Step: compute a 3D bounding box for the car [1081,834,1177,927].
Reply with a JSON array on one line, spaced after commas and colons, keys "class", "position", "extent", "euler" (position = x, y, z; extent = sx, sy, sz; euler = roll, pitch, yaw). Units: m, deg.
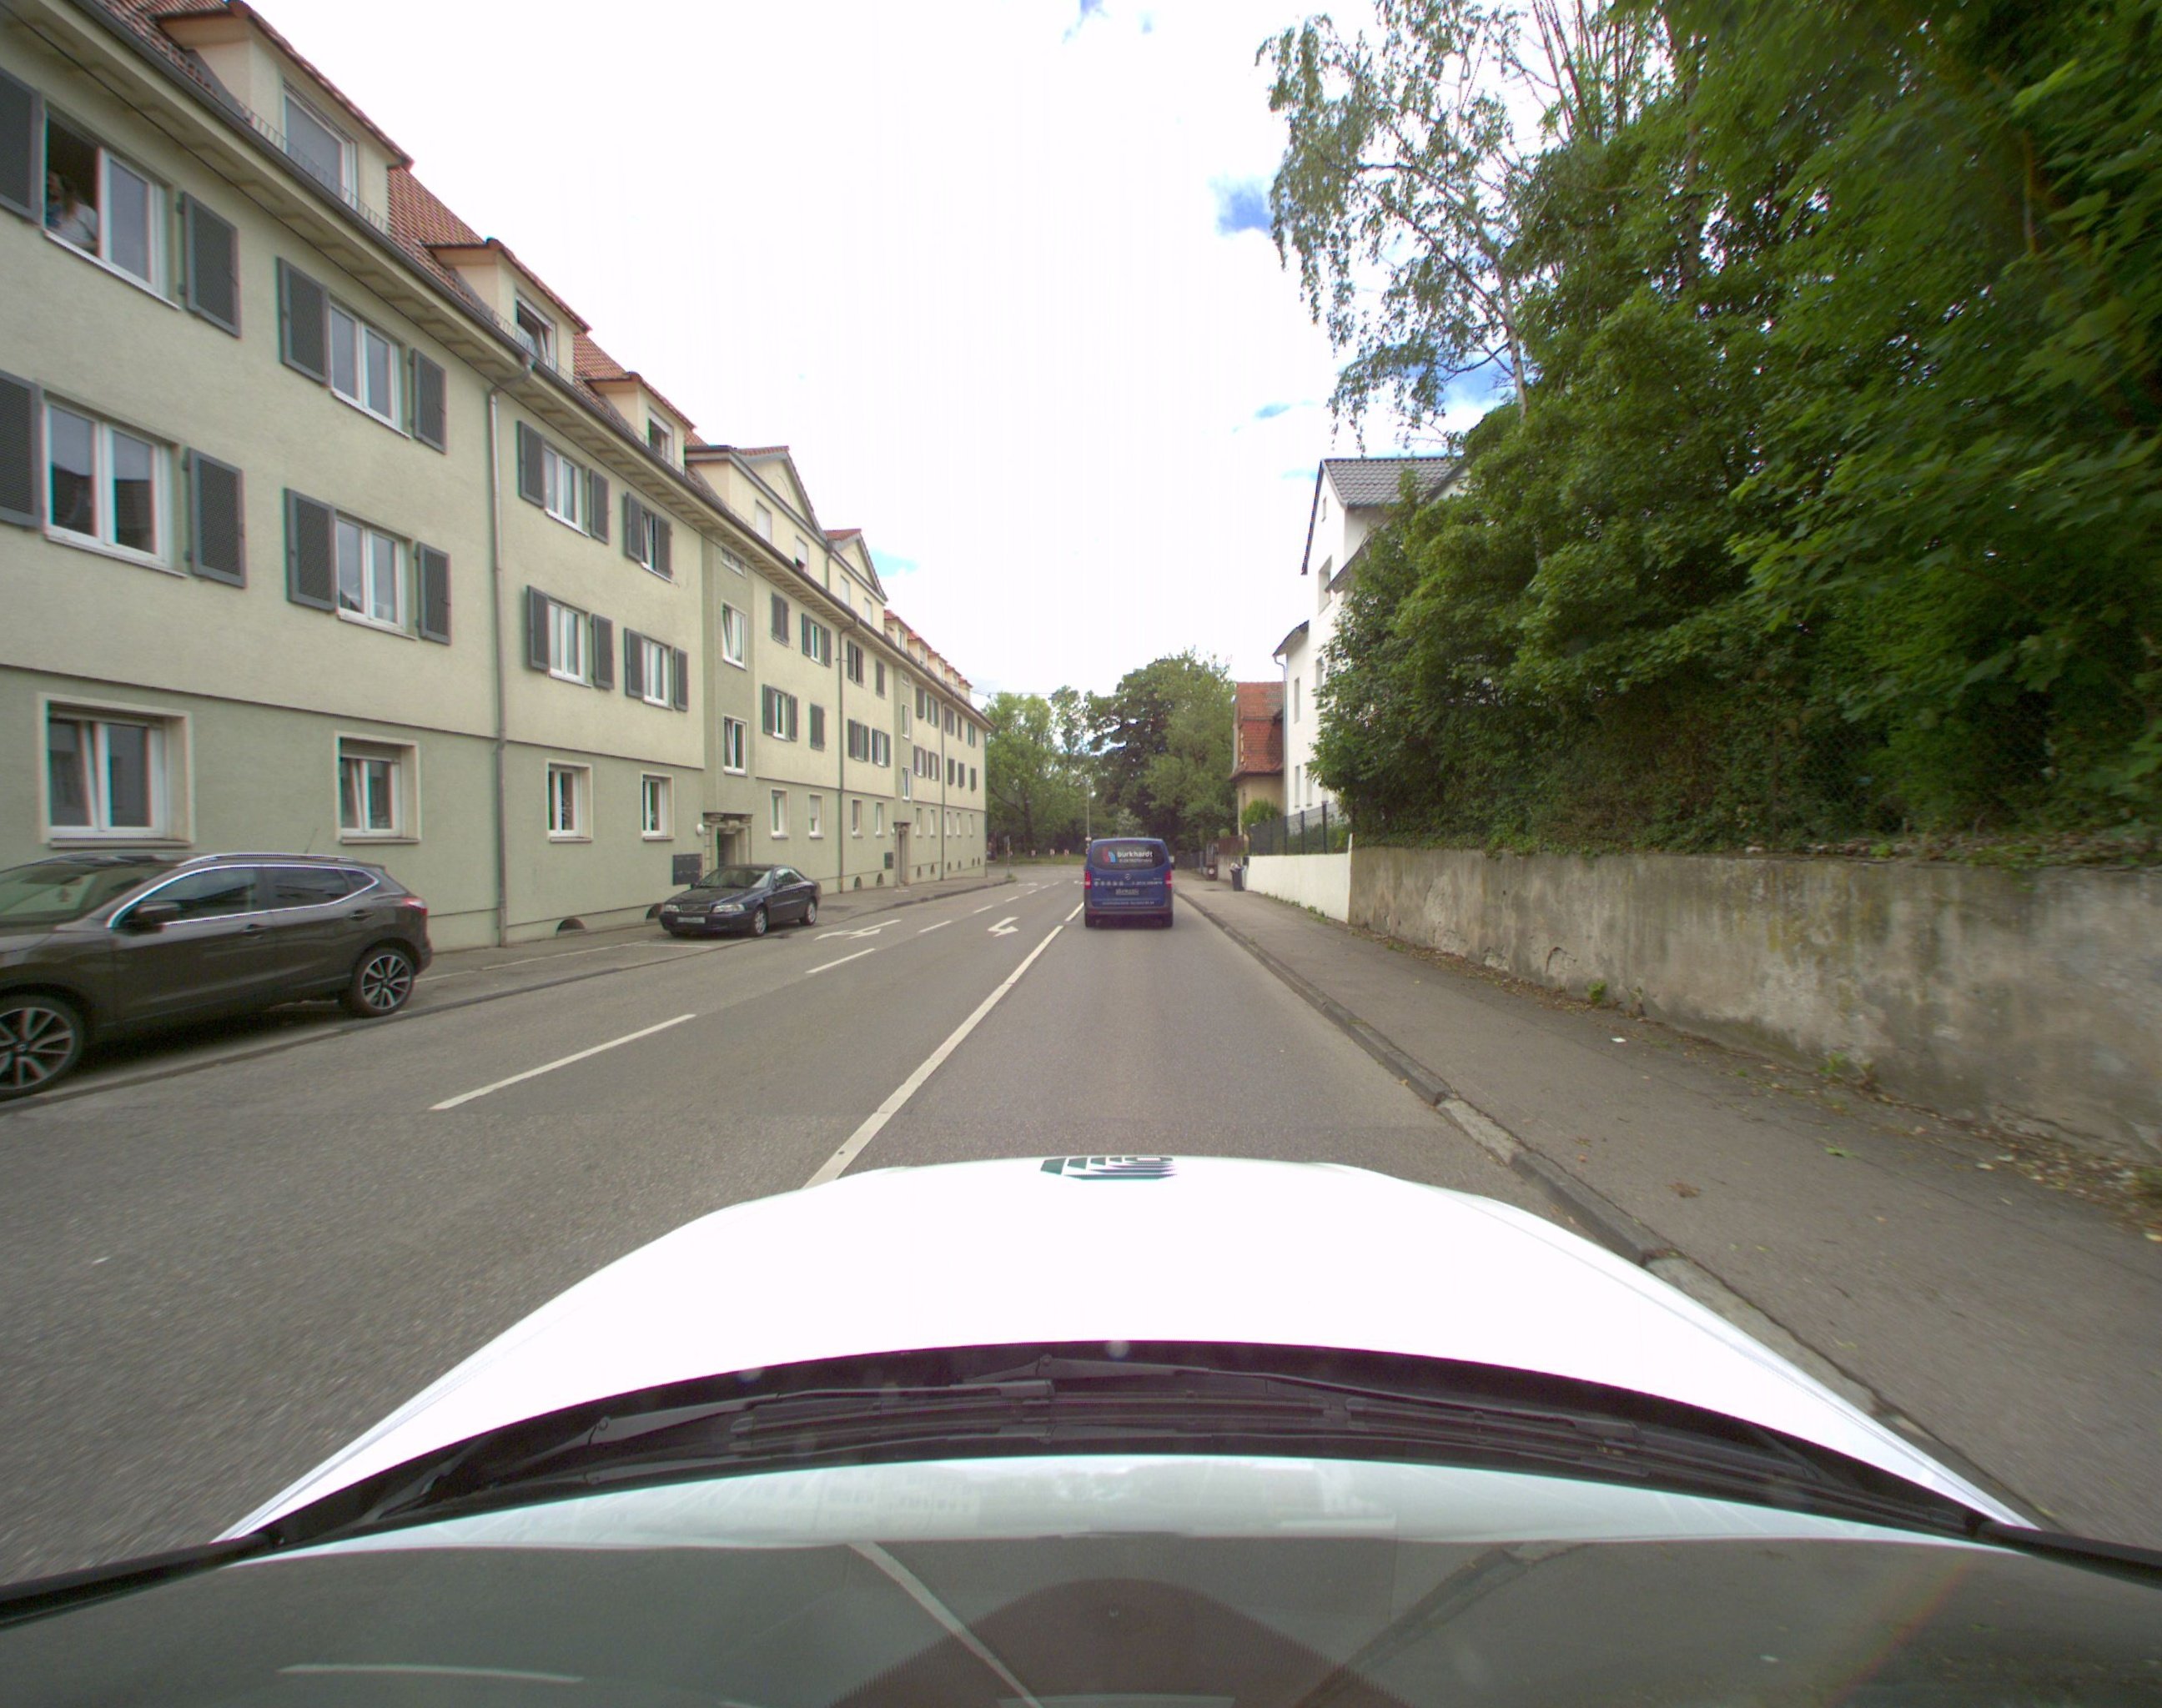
[{"class": "car", "position": [1.000, 0.553, 18.436], "extent": [1.906, 1.838, 4.294], "euler": [-1, -1, 1]}]

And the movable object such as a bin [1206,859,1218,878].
[{"class": "movable object such as a bin", "position": [6.707, 0.741, 41.802], "extent": [0.459, 0.924, 0.566], "euler": [-4, 0, 2]}]

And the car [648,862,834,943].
[{"class": "car", "position": [-6.978, 0.913, 17.385], "extent": [1.703, 1.403, 4.849], "euler": [-1, 0, 3]}]

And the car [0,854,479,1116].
[{"class": "car", "position": [-7.690, 0.832, 6.735], "extent": [1.815, 1.633, 4.699], "euler": [0, 0, 2]}]

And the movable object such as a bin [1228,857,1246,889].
[{"class": "movable object such as a bin", "position": [6.016, 0.712, 31.466], "extent": [0.526, 1.178, 0.635], "euler": [-4, 0, 2]}]
